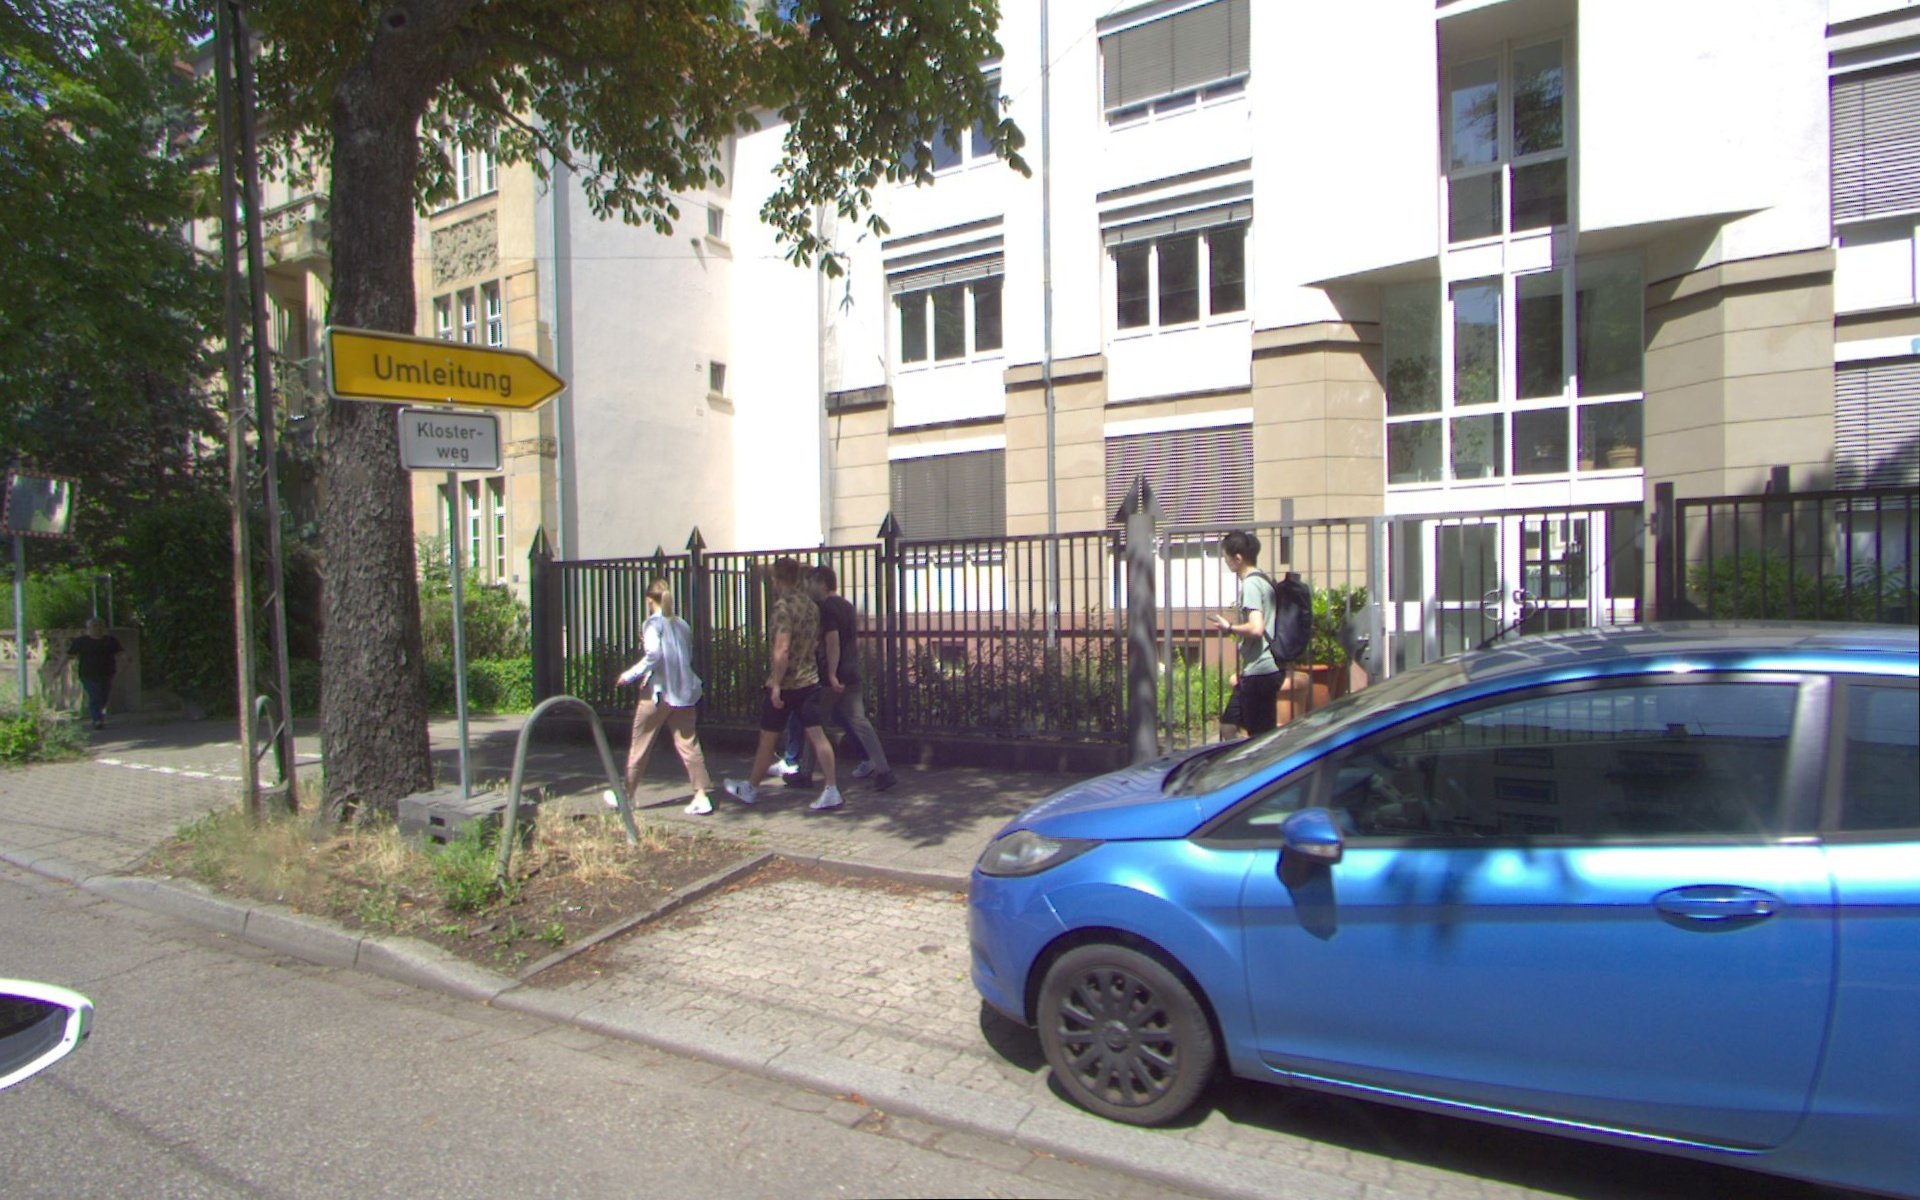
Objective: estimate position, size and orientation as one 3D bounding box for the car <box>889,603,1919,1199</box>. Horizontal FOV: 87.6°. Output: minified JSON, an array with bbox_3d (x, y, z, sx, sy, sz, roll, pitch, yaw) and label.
[{"bbox_3d":[1.783,0.788,3.209,3.663,1.463,1.675,-1,2,28],"label":"car"}]

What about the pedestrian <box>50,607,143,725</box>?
[{"bbox_3d":[-12.767,0.943,14.814,0.825,1.667,0.854,-1,0,36],"label":"pedestrian"}]

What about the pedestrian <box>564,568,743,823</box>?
[{"bbox_3d":[-2.180,0.637,7.154,0.959,1.673,0.765,-1,0,30],"label":"pedestrian"}]

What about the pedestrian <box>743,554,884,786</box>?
[{"bbox_3d":[-1.234,0.562,8.455,0.962,1.835,0.660,0,0,29],"label":"pedestrian"}]

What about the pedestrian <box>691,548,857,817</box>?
[{"bbox_3d":[-1.335,0.563,7.239,0.932,1.800,0.704,0,0,27],"label":"pedestrian"}]

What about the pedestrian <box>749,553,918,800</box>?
[{"bbox_3d":[-0.979,0.562,7.816,1.036,1.785,0.786,-1,0,30],"label":"pedestrian"}]

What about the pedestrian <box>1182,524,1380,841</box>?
[{"bbox_3d":[2.024,0.482,6.301,1.067,1.821,0.683,-1,0,29],"label":"pedestrian"}]
